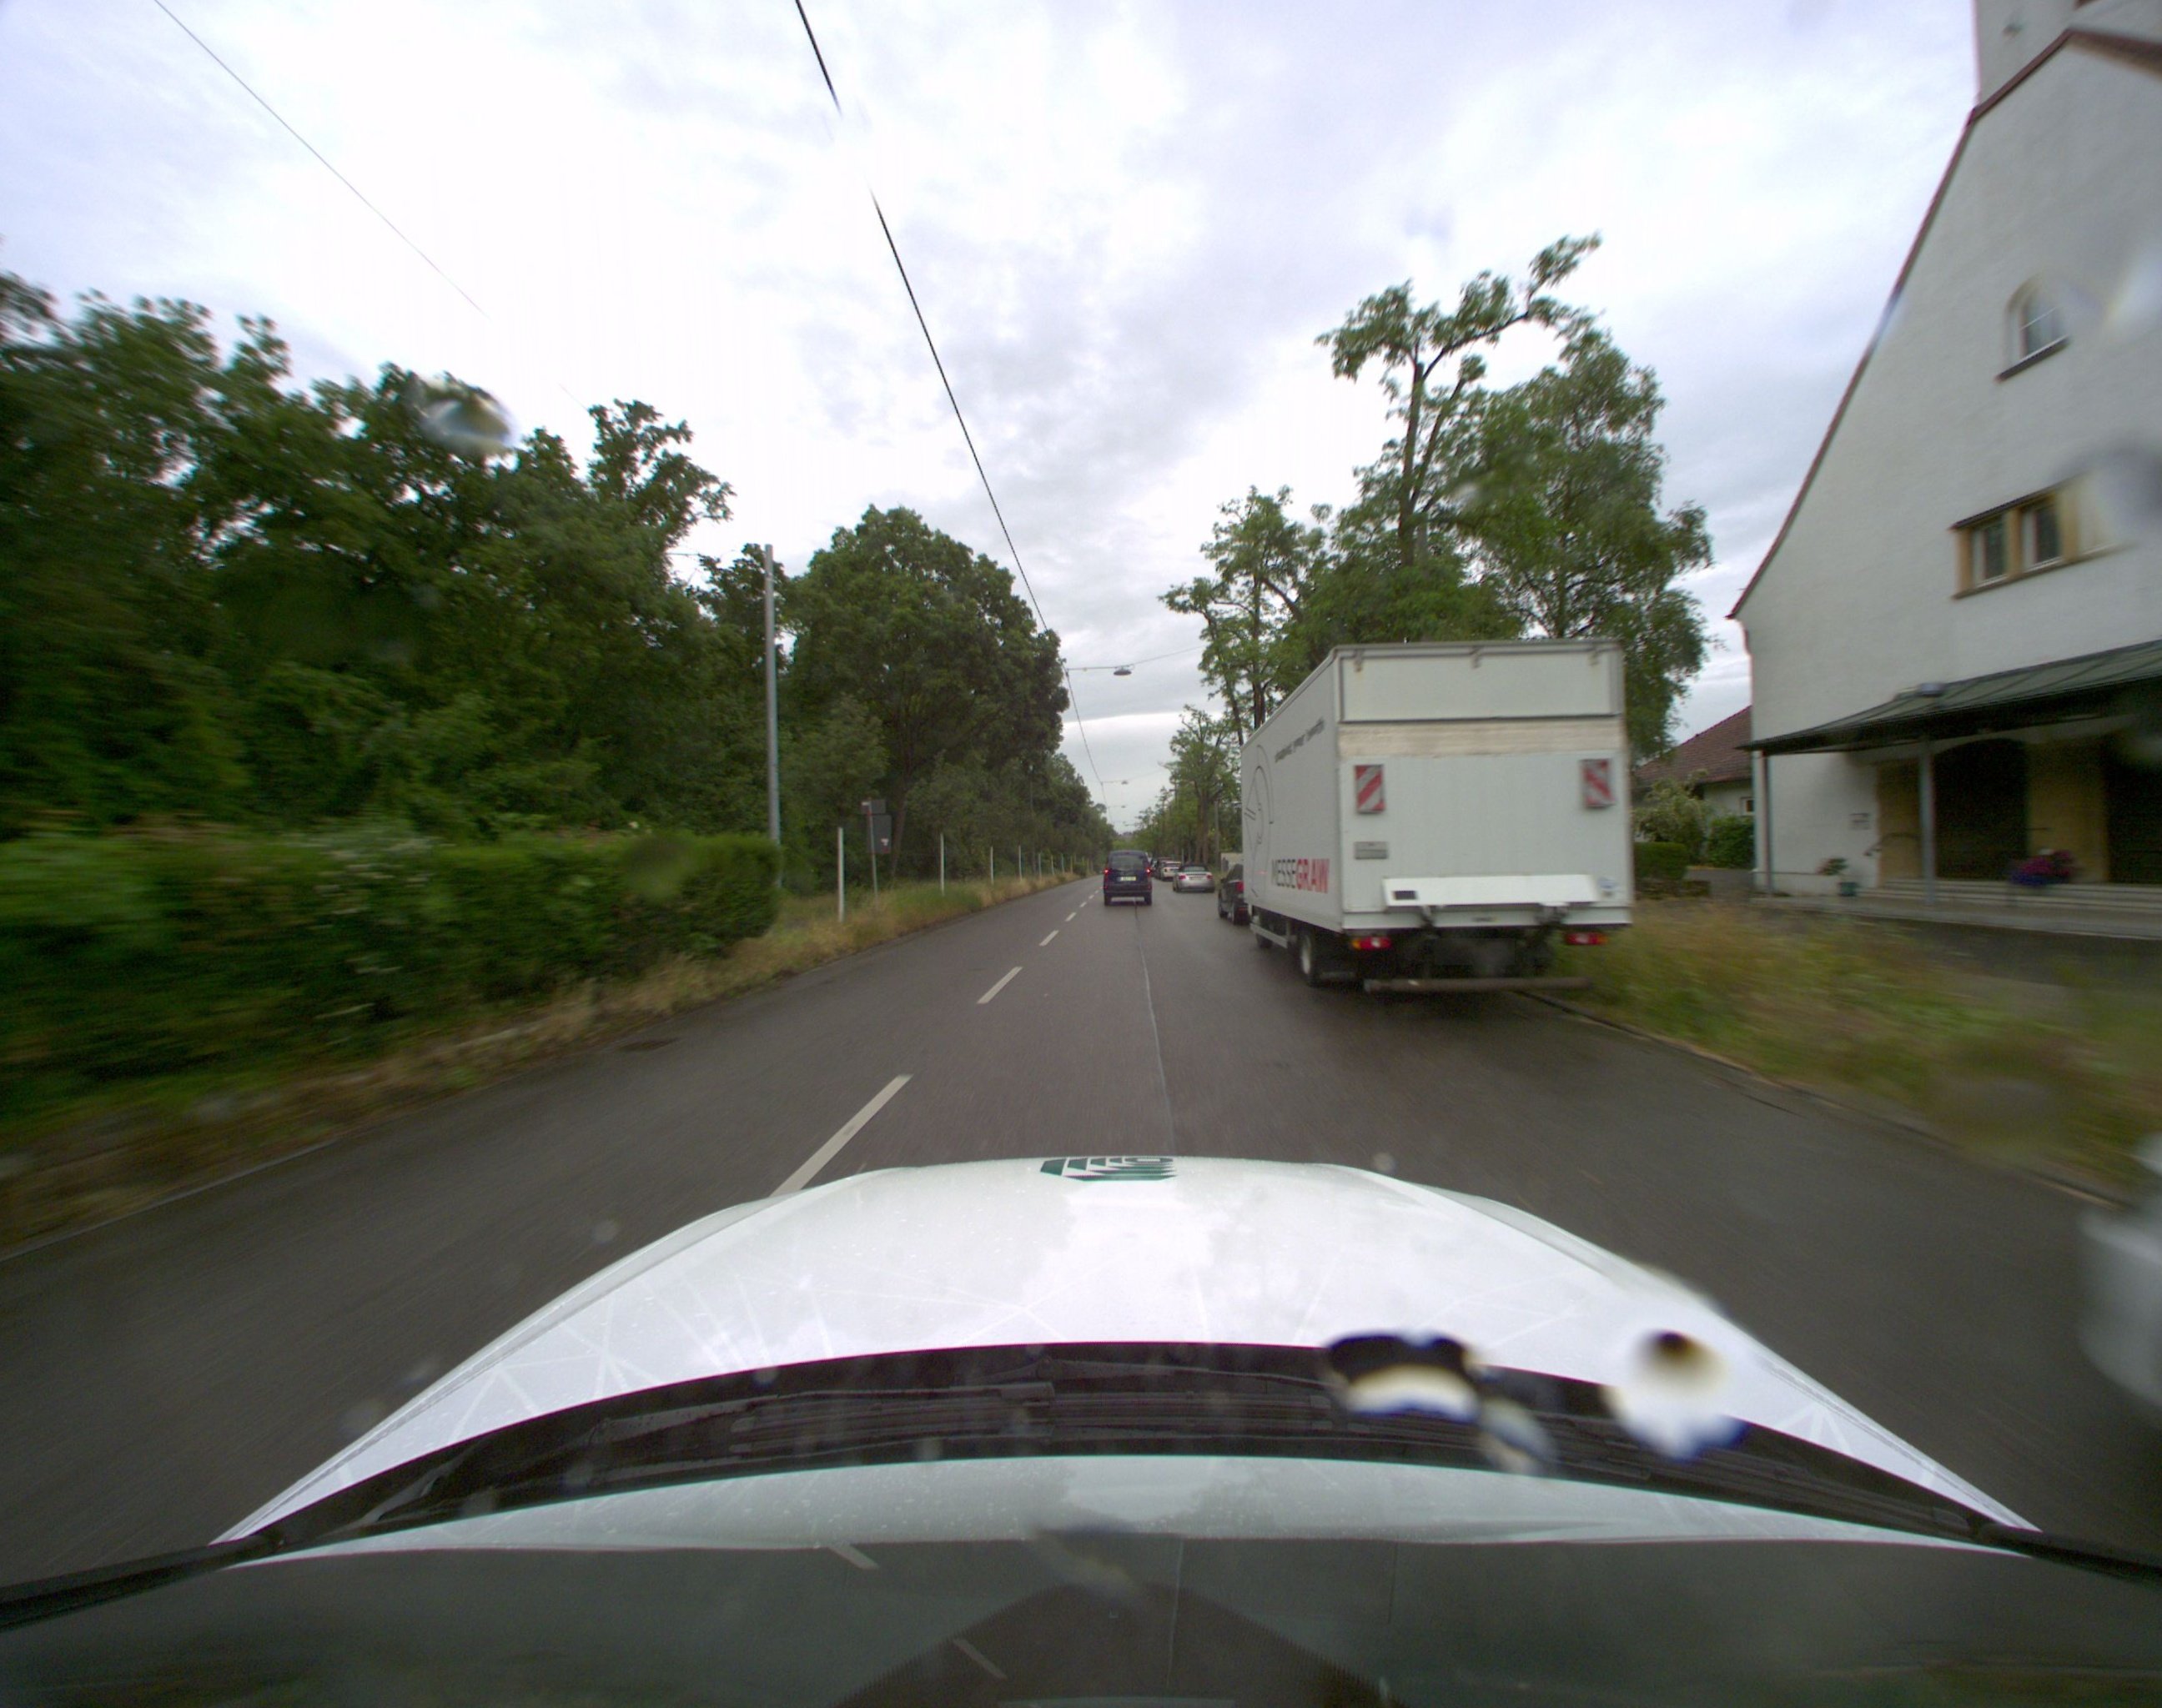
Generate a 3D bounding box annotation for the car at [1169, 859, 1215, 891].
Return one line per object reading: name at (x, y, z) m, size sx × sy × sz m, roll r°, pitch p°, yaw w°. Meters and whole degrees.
car at (5.221, 0.972, 38.745) m, size 1.775 × 1.395 × 4.002 m, roll 0°, pitch 0°, yaw 2°

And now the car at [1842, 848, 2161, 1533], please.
car at (3.155, 0.715, 0.212) m, size 1.789 × 1.474 × 4.551 m, roll 0°, pitch 0°, yaw 2°

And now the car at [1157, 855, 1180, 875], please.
car at (6.997, 0.873, 65.305) m, size 1.671 × 1.555 × 4.079 m, roll 0°, pitch 0°, yaw 3°

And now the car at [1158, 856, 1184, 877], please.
car at (6.655, 0.909, 60.248) m, size 1.730 × 1.464 × 3.728 m, roll 0°, pitch 0°, yaw 3°

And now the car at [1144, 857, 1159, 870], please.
car at (10.246, 1.396, 118.518) m, size 1.808 × 1.813 × 4.284 m, roll 0°, pitch 0°, yaw 2°

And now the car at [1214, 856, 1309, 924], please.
car at (4.245, 0.780, 19.700) m, size 1.634 × 1.464 × 4.003 m, roll 0°, pitch 0°, yaw 3°

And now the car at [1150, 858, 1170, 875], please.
car at (7.933, 1.253, 82.262) m, size 1.797 × 1.613 × 4.289 m, roll 0°, pitch 0°, yaw 3°

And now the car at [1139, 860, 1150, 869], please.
car at (10.218, 1.660, 131.785) m, size 1.617 × 1.464 × 3.814 m, roll 0°, pitch 0°, yaw 6°

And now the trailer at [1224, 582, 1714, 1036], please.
trailer at (3.715, -0.332, 10.450) m, size 2.723 × 3.508 × 8.253 m, roll 0°, pitch 0°, yaw 3°

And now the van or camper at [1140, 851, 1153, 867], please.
van or camper at (11.208, 0.836, 139.280) m, size 2.070 × 2.650 × 5.350 m, roll 0°, pitch 0°, yaw 3°

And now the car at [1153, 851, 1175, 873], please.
car at (7.272, 0.682, 71.758) m, size 1.723 × 1.847 × 4.234 m, roll 0°, pitch 0°, yaw 3°

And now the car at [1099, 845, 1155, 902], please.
car at (1.545, 0.646, 28.339) m, size 1.761 × 1.830 × 3.542 m, roll 0°, pitch 0°, yaw 0°
